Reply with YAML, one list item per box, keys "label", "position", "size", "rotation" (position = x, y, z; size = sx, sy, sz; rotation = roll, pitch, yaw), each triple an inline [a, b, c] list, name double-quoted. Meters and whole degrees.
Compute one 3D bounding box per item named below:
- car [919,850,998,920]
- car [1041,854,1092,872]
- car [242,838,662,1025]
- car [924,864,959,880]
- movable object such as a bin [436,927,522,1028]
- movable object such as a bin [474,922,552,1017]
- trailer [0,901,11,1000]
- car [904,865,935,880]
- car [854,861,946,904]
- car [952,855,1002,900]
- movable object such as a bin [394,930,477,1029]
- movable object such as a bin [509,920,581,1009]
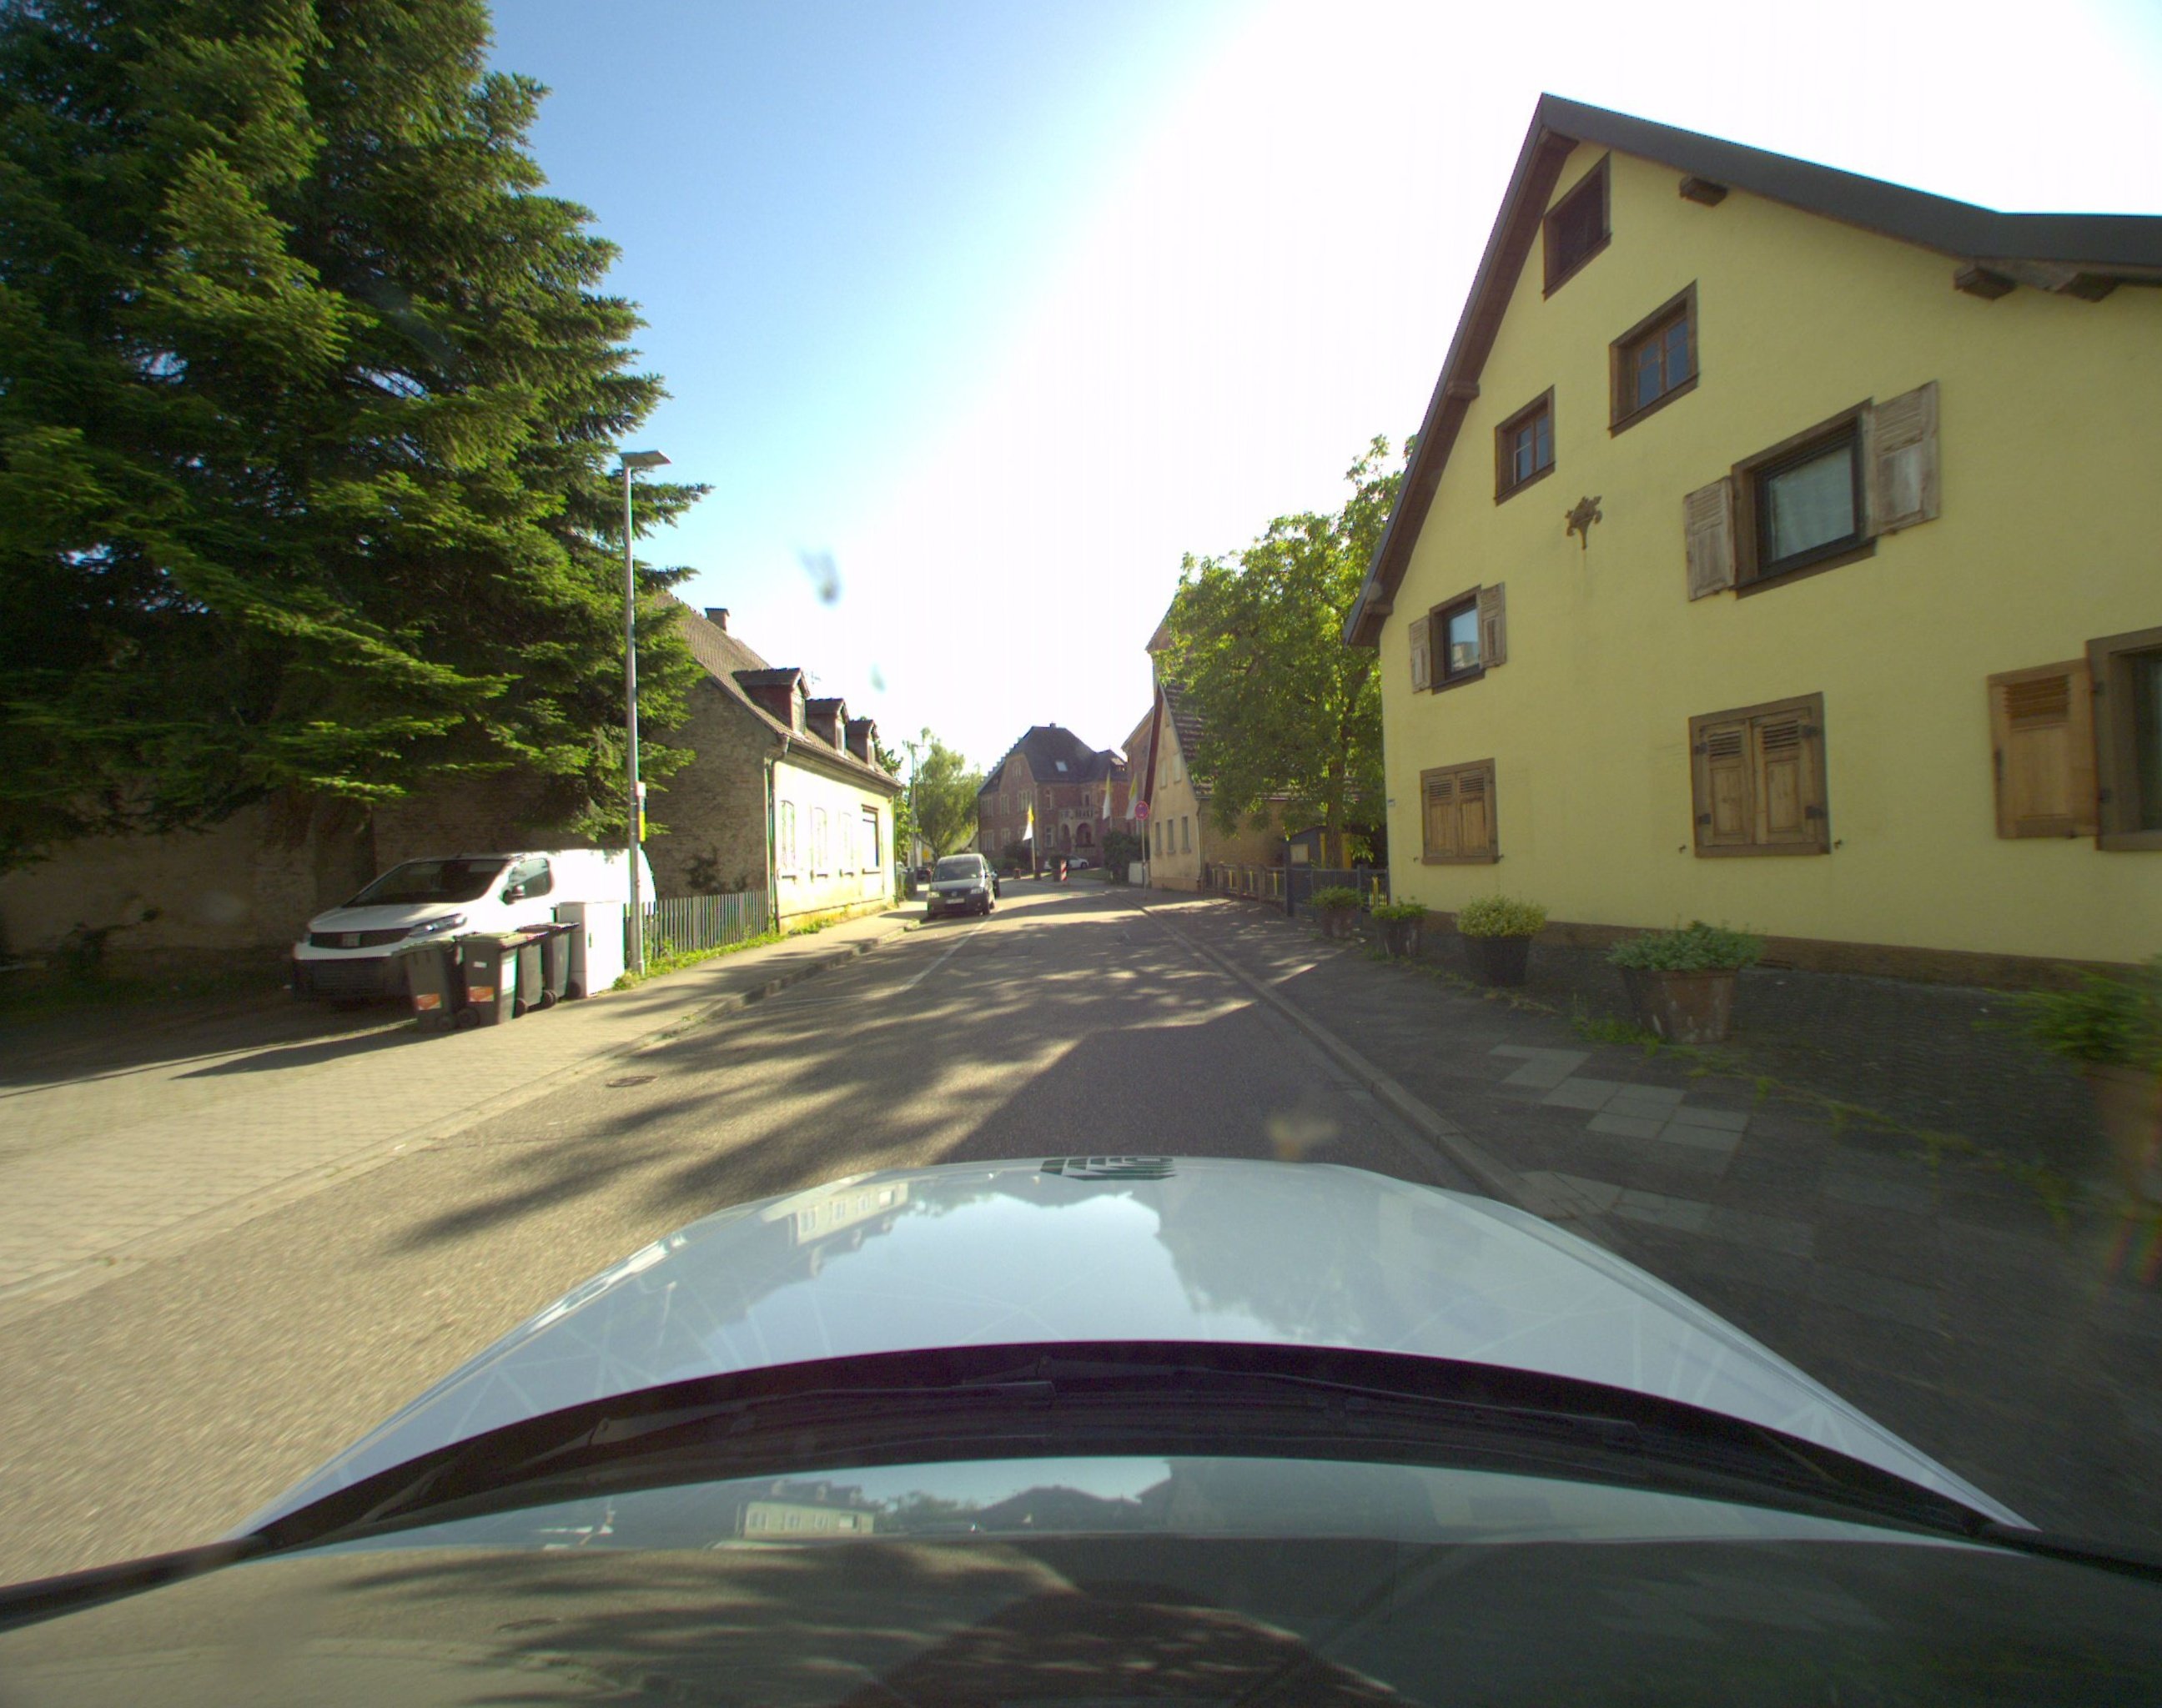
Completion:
- label: "car"
  position: [-3.616, 0.873, 24.816]
  size: [1.822, 1.814, 4.197]
  rotation: [-5, 0, -3]
- label: "car"
  position: [-1.254, 0.791, 72.228]
  size: [4.263, 1.400, 1.700]
  rotation: [-3, 0, -33]
- label: "car"
  position: [-8.284, 0.859, 11.590]
  size: [1.934, 1.955, 5.139]
  rotation: [-3, 0, -1]
- label: "car"
  position: [-12.912, 1.686, 75.178]
  size: [1.724, 1.400, 4.205]
  rotation: [-3, 0, -31]
- label: "movable object such as a bin"
  position: [-6.162, 1.256, 8.355]
  size: [0.438, 0.924, 0.491]
  rotation: [-4, 2, 0]
- label: "movable object such as a bin"
  position: [-6.165, 1.244, 8.857]
  size: [0.427, 0.924, 0.491]
  rotation: [-4, 2, 0]
- label: "trailer"
  position: [-18.325, 1.586, 12.126]
  size: [2.434, 1.572, 1.539]
  rotation: [-3, 0, -11]
- label: "car"
  position: [-16.349, 1.929, 82.535]
  size: [1.724, 1.400, 4.205]
  rotation: [-3, 0, -31]
- label: "car"
  position: [-8.950, 1.392, 40.202]
  size: [4.201, 1.732, 1.820]
  rotation: [-5, 0, -19]
- label: "car"
  position: [-4.693, 1.024, 36.303]
  size: [1.827, 1.732, 4.186]
  rotation: [-5, 0, -11]
- label: "movable object such as a bin"
  position: [-6.604, 1.274, 8.350]
  size: [0.418, 0.924, 0.491]
  rotation: [-3, 0, 0]
- label: "movable object such as a bin"
  position: [-6.152, 1.260, 9.364]
  size: [0.418, 0.924, 0.491]
  rotation: [-4, 2, 0]
